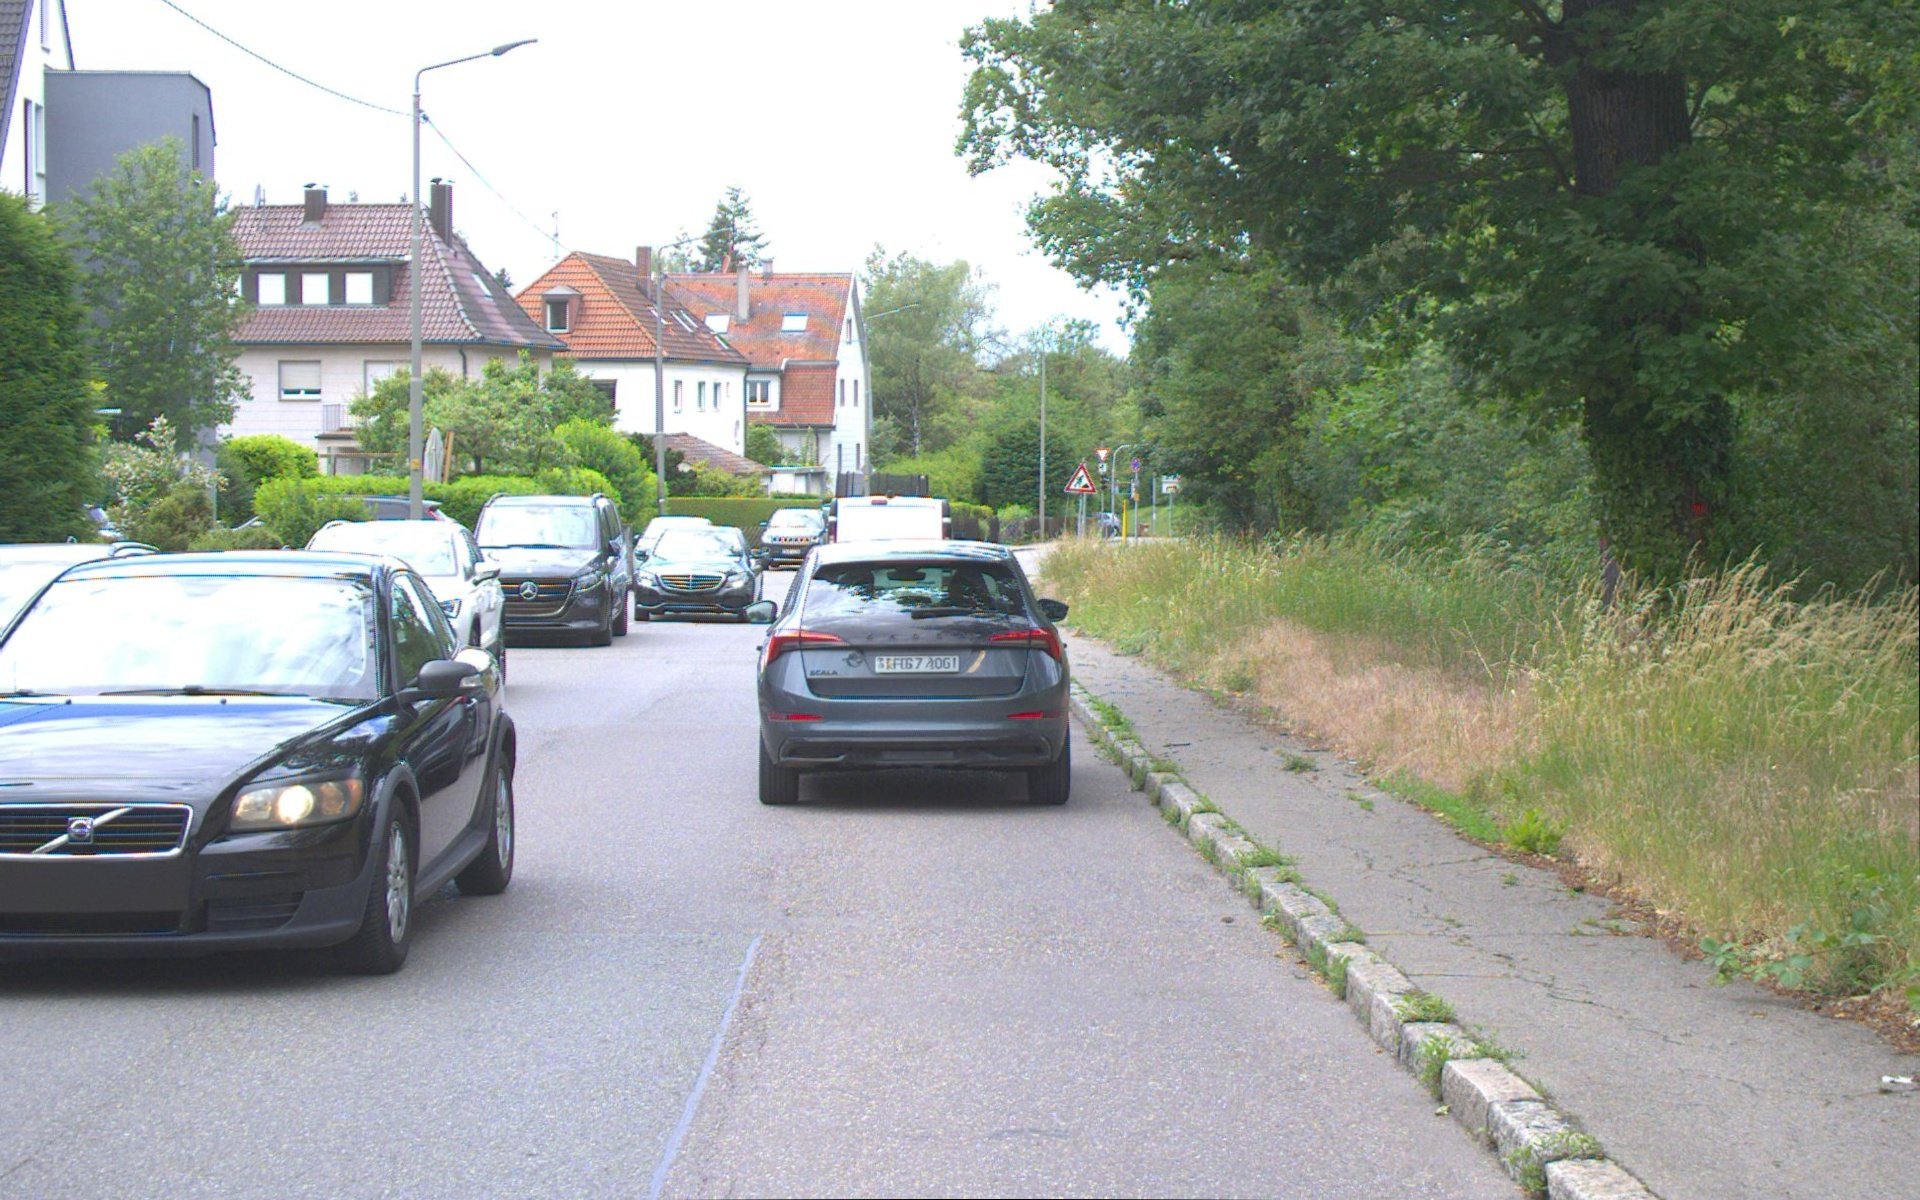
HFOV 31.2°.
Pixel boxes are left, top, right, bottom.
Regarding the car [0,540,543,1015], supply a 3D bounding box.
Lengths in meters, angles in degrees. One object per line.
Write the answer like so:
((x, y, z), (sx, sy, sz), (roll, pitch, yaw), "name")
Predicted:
((-2.736, 0.517, 12.943), (1.763, 1.441, 4.474), (0, 1, 0), "car")

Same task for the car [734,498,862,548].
((-5.441, -2.592, 115.433), (3.988, 1.612, 2.000), (1, 2, 8), "car")

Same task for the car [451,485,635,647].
((-5.290, -0.477, 44.185), (1.863, 1.919, 5.039), (1, 1, -2), "car")

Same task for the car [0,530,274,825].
((-5.294, 0.372, 19.984), (1.763, 1.494, 4.474), (-2, 1, -1), "car")

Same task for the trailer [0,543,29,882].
((-5.109, 0.548, 13.375), (1.763, 1.491, 4.474), (0, 1, 0), "trailer")

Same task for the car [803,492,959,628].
((-1.243, -0.642, 51.665), (2.071, 1.915, 4.923), (1, 1, -4), "car")

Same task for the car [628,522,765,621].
((-4.010, -0.473, 52.898), (1.863, 1.409, 4.593), (1, 1, -2), "car")

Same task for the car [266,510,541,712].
((-4.928, 0.044, 30.986), (1.838, 1.643, 4.186), (-2, 1, -1), "car")

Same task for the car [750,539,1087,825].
((-0.347, 0.396, 20.244), (1.727, 1.434, 4.324), (1, 2, -4), "car")

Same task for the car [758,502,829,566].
((-4.495, -1.808, 93.208), (1.833, 1.591, 4.324), (1, 2, -2), "car")

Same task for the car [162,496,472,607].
((-10.093, -0.777, 54.243), (4.615, 1.691, 2.000), (0, 1, -4), "car")

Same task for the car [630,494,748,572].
((-5.449, -1.364, 69.511), (1.784, 1.495, 4.014), (1, 1, 4), "car")
